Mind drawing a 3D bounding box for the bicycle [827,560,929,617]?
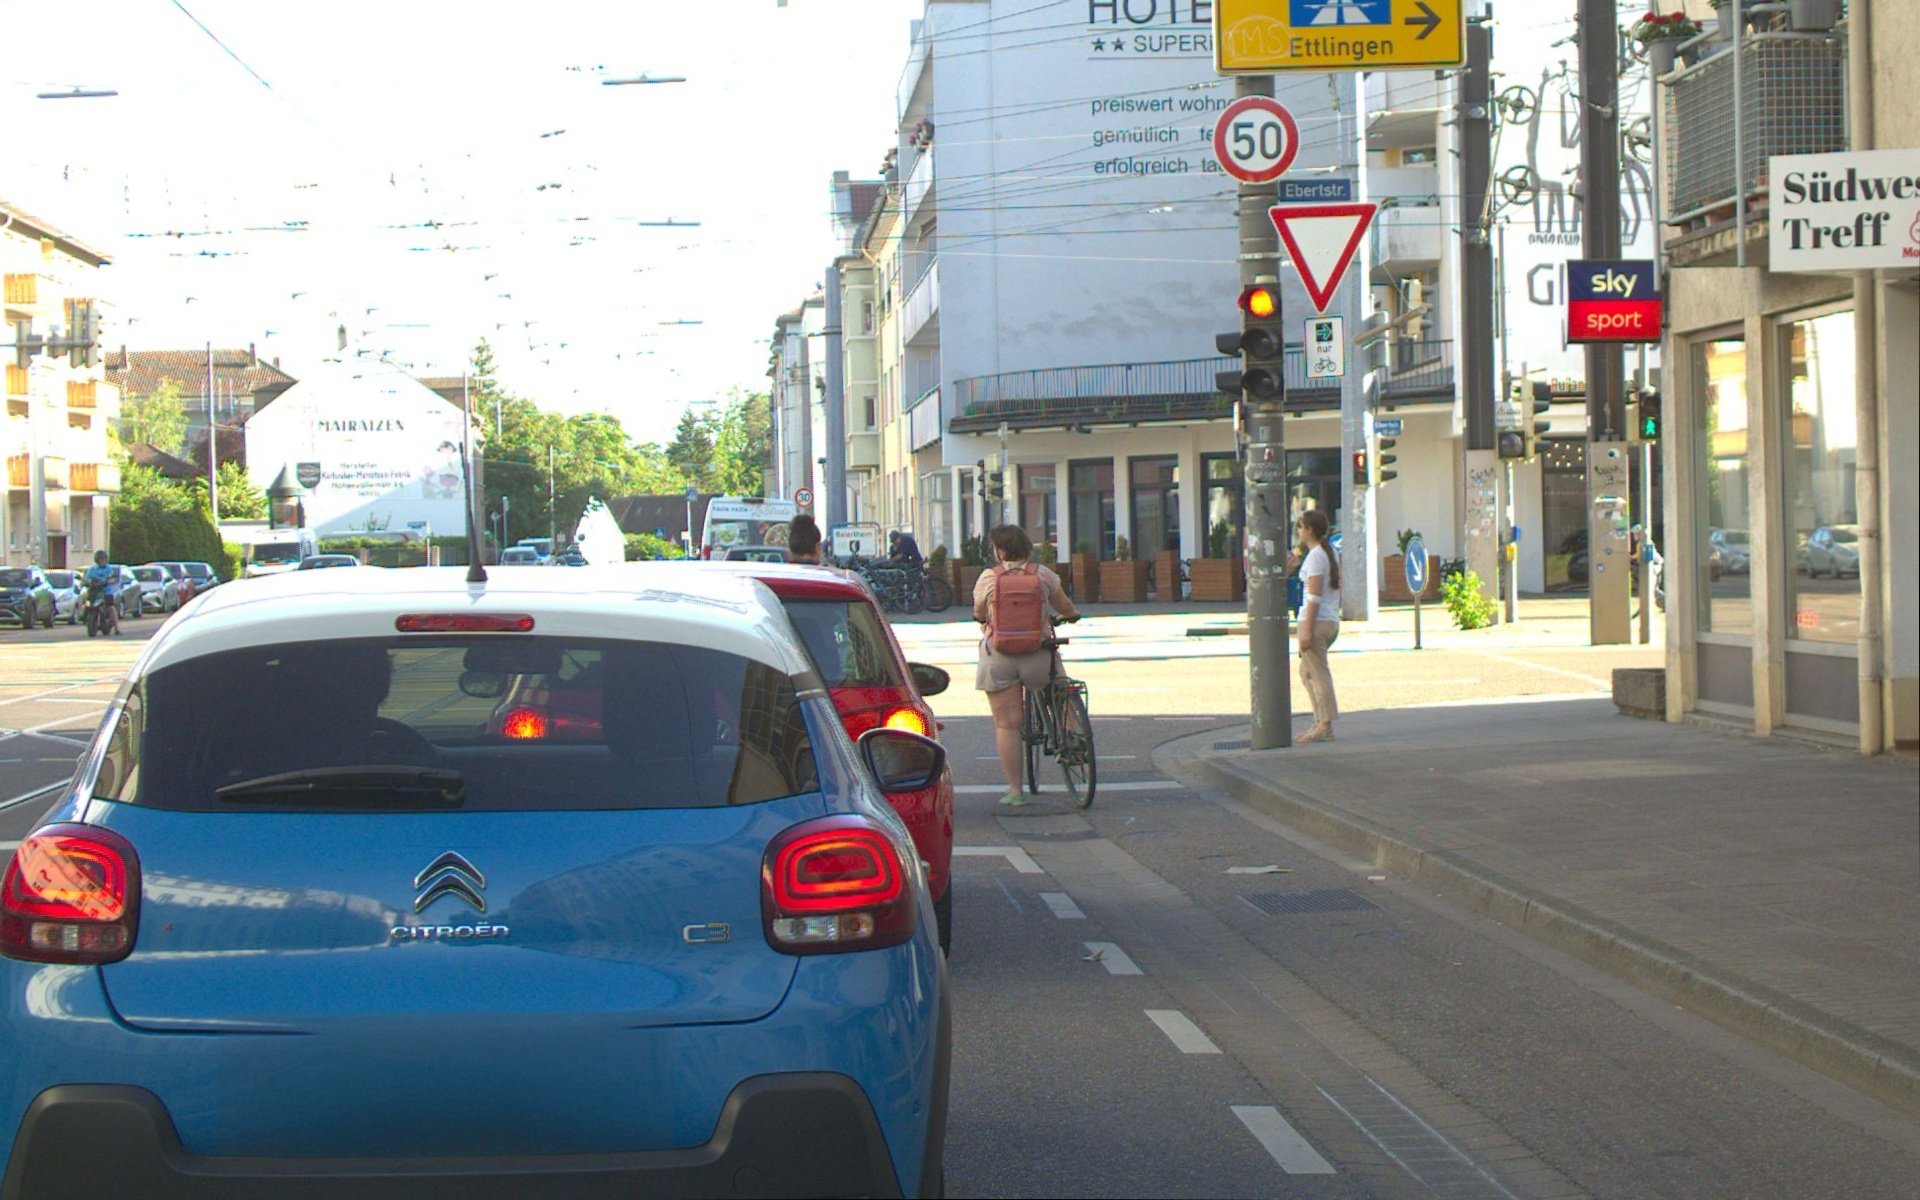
[{"bbox_3d":[-1.603,-0.233,67.105,1.904,1.061,0.642,-1,1,-7],"label":"bicycle"}]

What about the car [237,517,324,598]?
[{"bbox_3d":[-23.656,-1.498,119.921,2.493,2.703,5.839,-1,1,-7],"label":"car"}]

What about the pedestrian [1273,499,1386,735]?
[{"bbox_3d":[2.603,0.109,24.294,0.751,1.629,0.740,-1,1,6],"label":"pedestrian"}]

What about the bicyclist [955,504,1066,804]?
[{"bbox_3d":[0.292,0.303,20.584,0.600,1.740,1.084,-1,1,-1],"label":"bicyclist"}]

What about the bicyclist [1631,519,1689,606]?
[{"bbox_3d":[11.641,-0.628,57.190,0.728,1.429,0.604,0,1,37],"label":"bicyclist"}]

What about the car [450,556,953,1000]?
[{"bbox_3d":[-1.004,0.576,13.569,1.680,1.457,4.001,0,1,-4],"label":"car"}]

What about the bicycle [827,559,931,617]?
[{"bbox_3d":[-1.554,-0.239,65.799,1.904,1.061,0.642,-1,1,-7],"label":"bicycle"}]

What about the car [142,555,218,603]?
[{"bbox_3d":[-26.063,-0.716,114.985,1.950,1.514,4.001,-1,1,-6],"label":"car"}]

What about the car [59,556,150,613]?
[{"bbox_3d":[-24.453,-0.454,98.360,1.950,1.514,4.001,-1,1,-6],"label":"car"}]

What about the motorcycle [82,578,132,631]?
[{"bbox_3d":[-16.690,0.075,67.272,0.751,0.973,2.098,-1,1,-9],"label":"motorcycle"}]

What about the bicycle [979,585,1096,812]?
[{"bbox_3d":[0.450,0.559,20.627,0.613,1.260,1.911,-1,1,-1],"label":"bicycle"}]

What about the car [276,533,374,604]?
[{"bbox_3d":[-15.428,-0.793,83.742,2.004,1.622,5.054,-1,1,-7],"label":"car"}]

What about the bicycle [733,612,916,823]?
[{"bbox_3d":[-0.800,0.646,19.782,0.616,1.099,1.887,-2,1,-15],"label":"bicycle"}]

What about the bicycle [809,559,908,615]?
[{"bbox_3d":[-2.022,-0.271,68.298,1.904,1.061,0.642,-1,1,-7],"label":"bicycle"}]

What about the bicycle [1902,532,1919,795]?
[{"bbox_3d":[4.916,0.313,15.737,0.640,1.260,1.911,-1,1,-1],"label":"bicycle"}]

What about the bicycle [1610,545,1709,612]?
[{"bbox_3d":[11.636,-0.349,57.215,1.492,1.087,0.604,0,1,37],"label":"bicycle"}]

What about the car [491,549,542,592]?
[{"bbox_3d":[-22.037,-1.490,170.826,2.338,2.032,5.051,-1,1,-6],"label":"car"}]

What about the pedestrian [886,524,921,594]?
[{"bbox_3d":[-1.149,-0.842,70.243,0.525,1.415,0.546,-1,1,20],"label":"pedestrian"}]

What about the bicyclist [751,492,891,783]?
[{"bbox_3d":[-0.804,0.201,19.757,0.616,1.624,0.760,-1,1,-15],"label":"bicyclist"}]

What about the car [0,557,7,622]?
[{"bbox_3d":[-23.316,-0.192,79.211,1.950,1.514,4.001,-1,1,-6],"label":"car"}]

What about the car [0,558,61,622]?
[{"bbox_3d":[-23.781,-0.265,85.875,1.950,1.514,4.001,-1,1,-6],"label":"car"}]

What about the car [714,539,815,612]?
[{"bbox_3d":[-3.878,-0.512,67.790,1.786,1.354,3.915,-1,1,-6],"label":"car"}]

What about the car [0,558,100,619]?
[{"bbox_3d":[-24.301,-0.332,91.933,1.950,1.514,4.001,-1,1,-6],"label":"car"}]

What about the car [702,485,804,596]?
[{"bbox_3d":[-4.428,-1.274,73.226,2.079,2.262,5.652,0,1,-4],"label":"car"}]

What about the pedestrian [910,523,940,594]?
[{"bbox_3d":[-0.716,-0.845,69.991,0.467,1.415,0.527,-1,1,-13],"label":"pedestrian"}]

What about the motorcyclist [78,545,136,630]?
[{"bbox_3d":[-16.671,-0.250,67.198,0.991,1.625,0.739,-1,1,-9],"label":"motorcyclist"}]

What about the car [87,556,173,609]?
[{"bbox_3d":[-24.920,-0.538,103.364,1.950,1.514,4.001,-1,1,-6],"label":"car"}]

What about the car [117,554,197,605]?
[{"bbox_3d":[-25.354,-0.668,108.643,1.950,1.514,4.001,-1,1,-6],"label":"car"}]

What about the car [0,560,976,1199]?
[{"bbox_3d":[-0.957,0.667,7.360,1.680,1.457,4.001,0,1,-4],"label":"car"}]
